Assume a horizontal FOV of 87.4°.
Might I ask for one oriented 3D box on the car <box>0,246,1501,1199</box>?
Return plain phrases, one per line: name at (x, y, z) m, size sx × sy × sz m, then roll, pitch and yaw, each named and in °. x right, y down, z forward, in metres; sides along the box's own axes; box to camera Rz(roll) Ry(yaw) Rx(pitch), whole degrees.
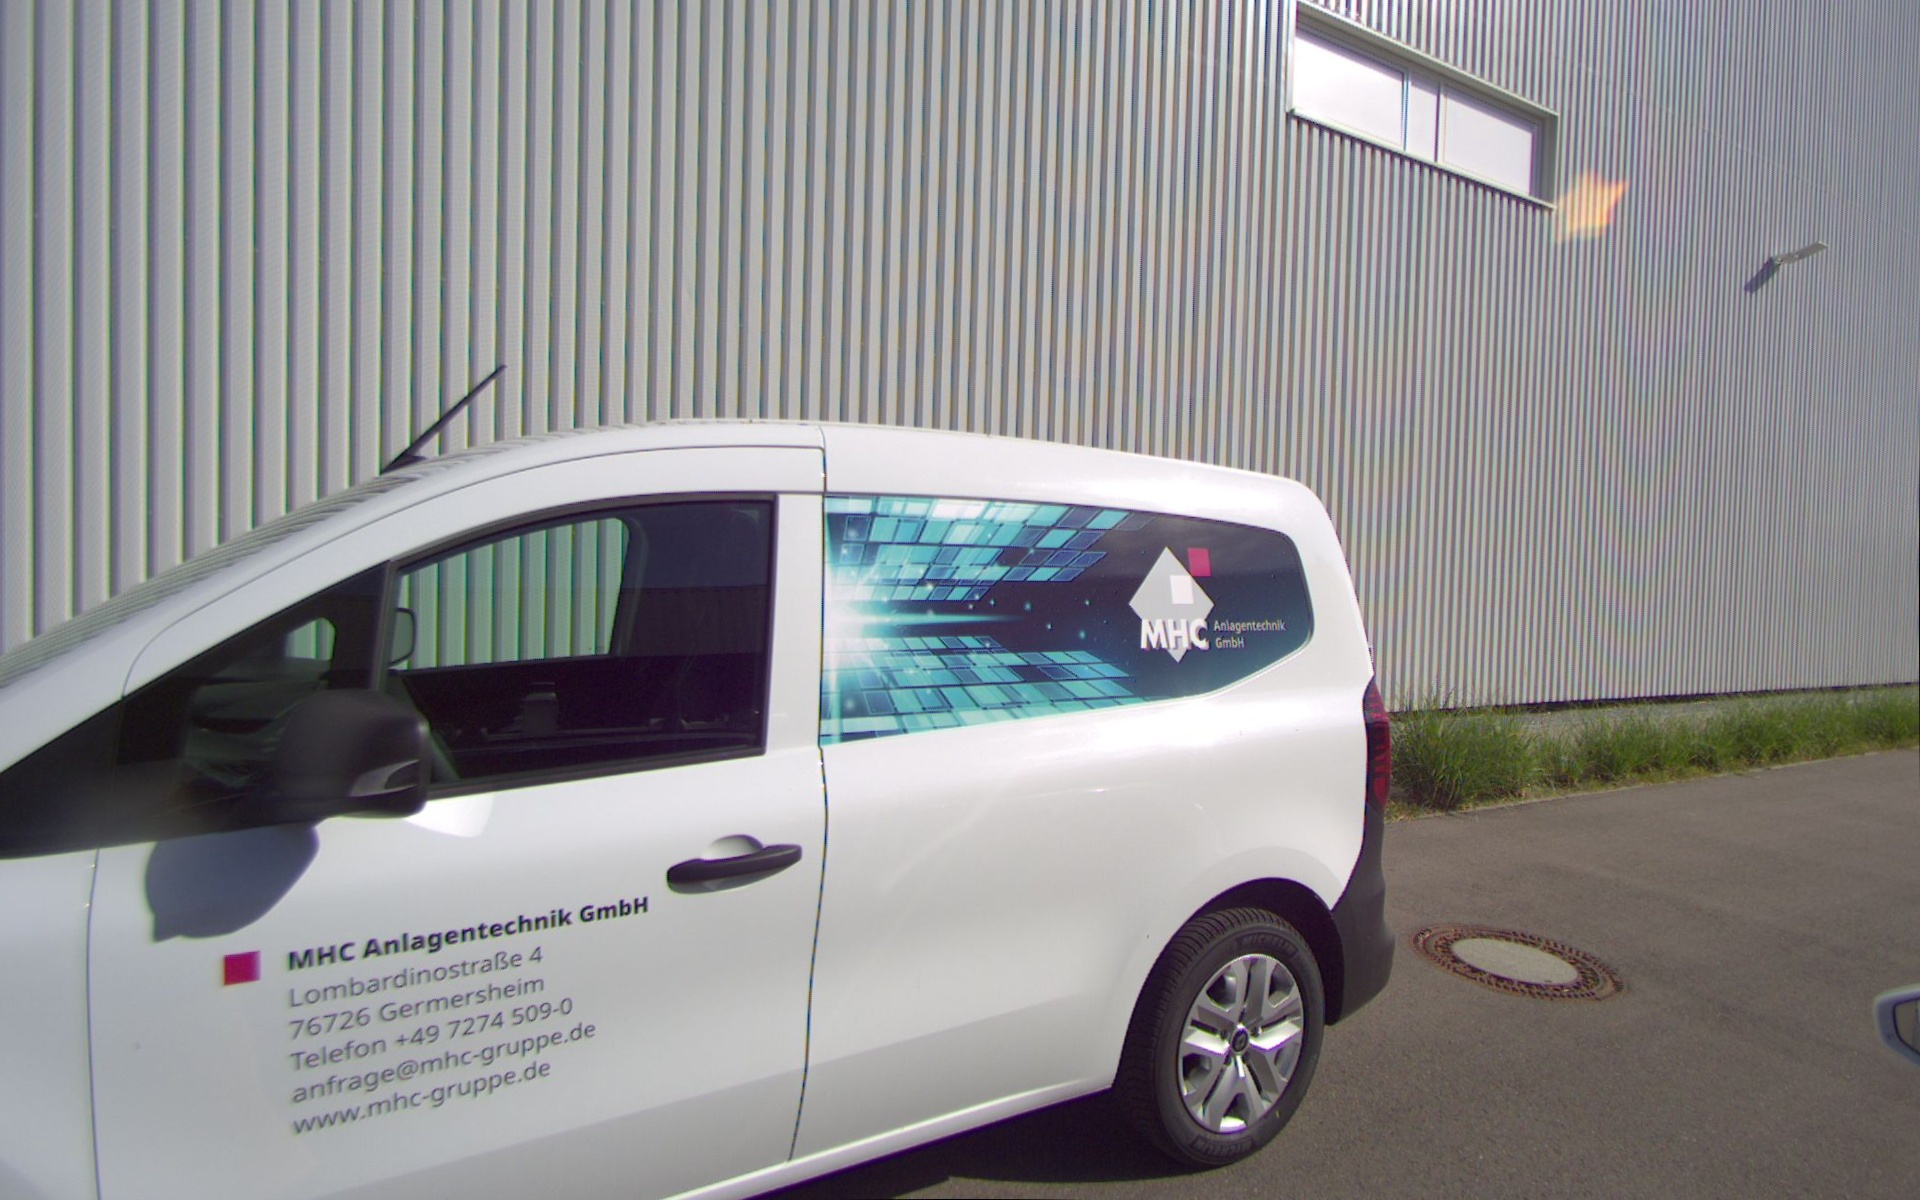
car at (-0.904, 0.456, 2.498) m, size 4.547 × 1.840 × 1.775 m, roll 1°, pitch 2°, yaw -30°
